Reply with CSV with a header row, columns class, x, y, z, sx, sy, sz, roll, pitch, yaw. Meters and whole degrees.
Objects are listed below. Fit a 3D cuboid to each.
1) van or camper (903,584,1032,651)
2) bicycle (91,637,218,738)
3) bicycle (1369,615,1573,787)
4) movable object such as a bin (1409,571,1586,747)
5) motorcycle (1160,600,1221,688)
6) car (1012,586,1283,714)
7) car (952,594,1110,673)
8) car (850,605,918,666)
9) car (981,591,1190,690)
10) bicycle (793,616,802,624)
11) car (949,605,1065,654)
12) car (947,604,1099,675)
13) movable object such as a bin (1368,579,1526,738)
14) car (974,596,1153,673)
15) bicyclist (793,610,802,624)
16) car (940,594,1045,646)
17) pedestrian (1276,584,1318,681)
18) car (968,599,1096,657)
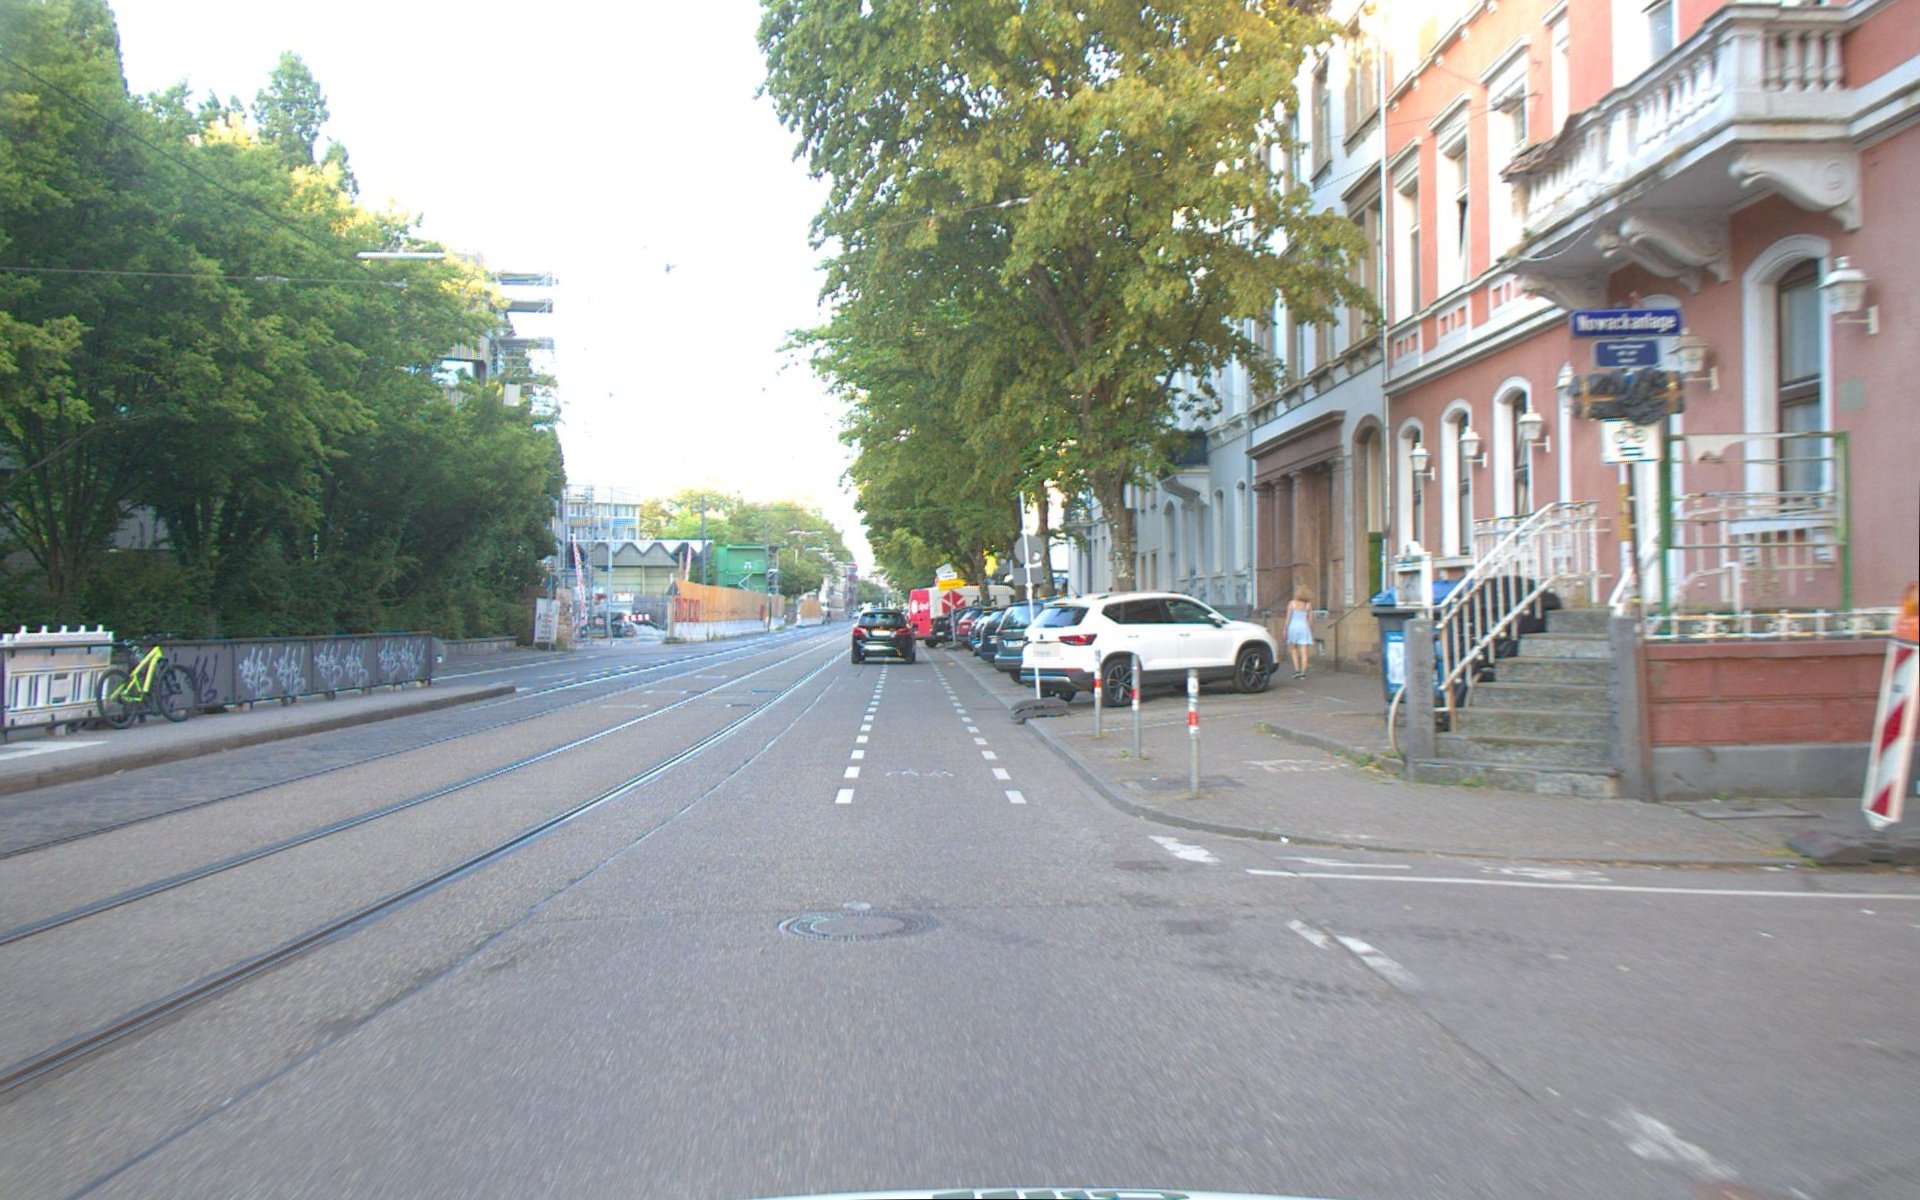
class,x,y,z,sx,sy,sz,roll,pitch,yaw
van or camper,0.363,0.770,73.501,5.492,2.574,2.059,-4,0,-37
bicycle,-9.507,1.004,19.605,0.452,1.094,2.022,-1,0,2
bicycle,4.213,0.787,13.568,1.898,1.288,0.593,-1,-1,-37
movable object such as a bin,4.887,0.516,15.141,1.117,1.528,1.398,0,0,-3
motorcycle,3.998,0.740,28.553,0.854,1.417,2.080,-3,-1,12
car,2.882,0.706,25.119,3.906,1.655,1.655,-3,1,-33
car,1.908,0.874,43.747,3.920,1.631,1.814,-6,1,-40
car,-2.225,1.022,48.421,1.844,1.648,3.998,2,-1,-3
car,2.551,0.795,33.124,3.917,1.697,1.875,-3,-1,-40
bicycle,-17.239,2.098,175.093,0.929,0.864,2.694,0,0,-5
car,1.761,1.088,61.851,3.899,1.631,1.823,-2,-1,-29
car,1.805,1.104,46.677,3.910,1.631,1.818,-5,1,-35
movable object such as a bin,4.847,0.563,16.574,1.117,1.528,1.398,0,0,-3
car,2.468,0.806,39.155,3.908,1.631,1.818,-2,-1,-35
bicyclist,-17.092,1.784,174.317,0.926,1.369,1.110,-1,-1,-5
car,1.348,0.839,68.829,3.900,1.795,1.823,-5,0,-29
pedestrian,5.762,0.548,28.300,0.574,1.637,0.624,0,-1,-2
car,2.423,0.926,55.172,3.909,1.631,1.818,-4,-1,-35
